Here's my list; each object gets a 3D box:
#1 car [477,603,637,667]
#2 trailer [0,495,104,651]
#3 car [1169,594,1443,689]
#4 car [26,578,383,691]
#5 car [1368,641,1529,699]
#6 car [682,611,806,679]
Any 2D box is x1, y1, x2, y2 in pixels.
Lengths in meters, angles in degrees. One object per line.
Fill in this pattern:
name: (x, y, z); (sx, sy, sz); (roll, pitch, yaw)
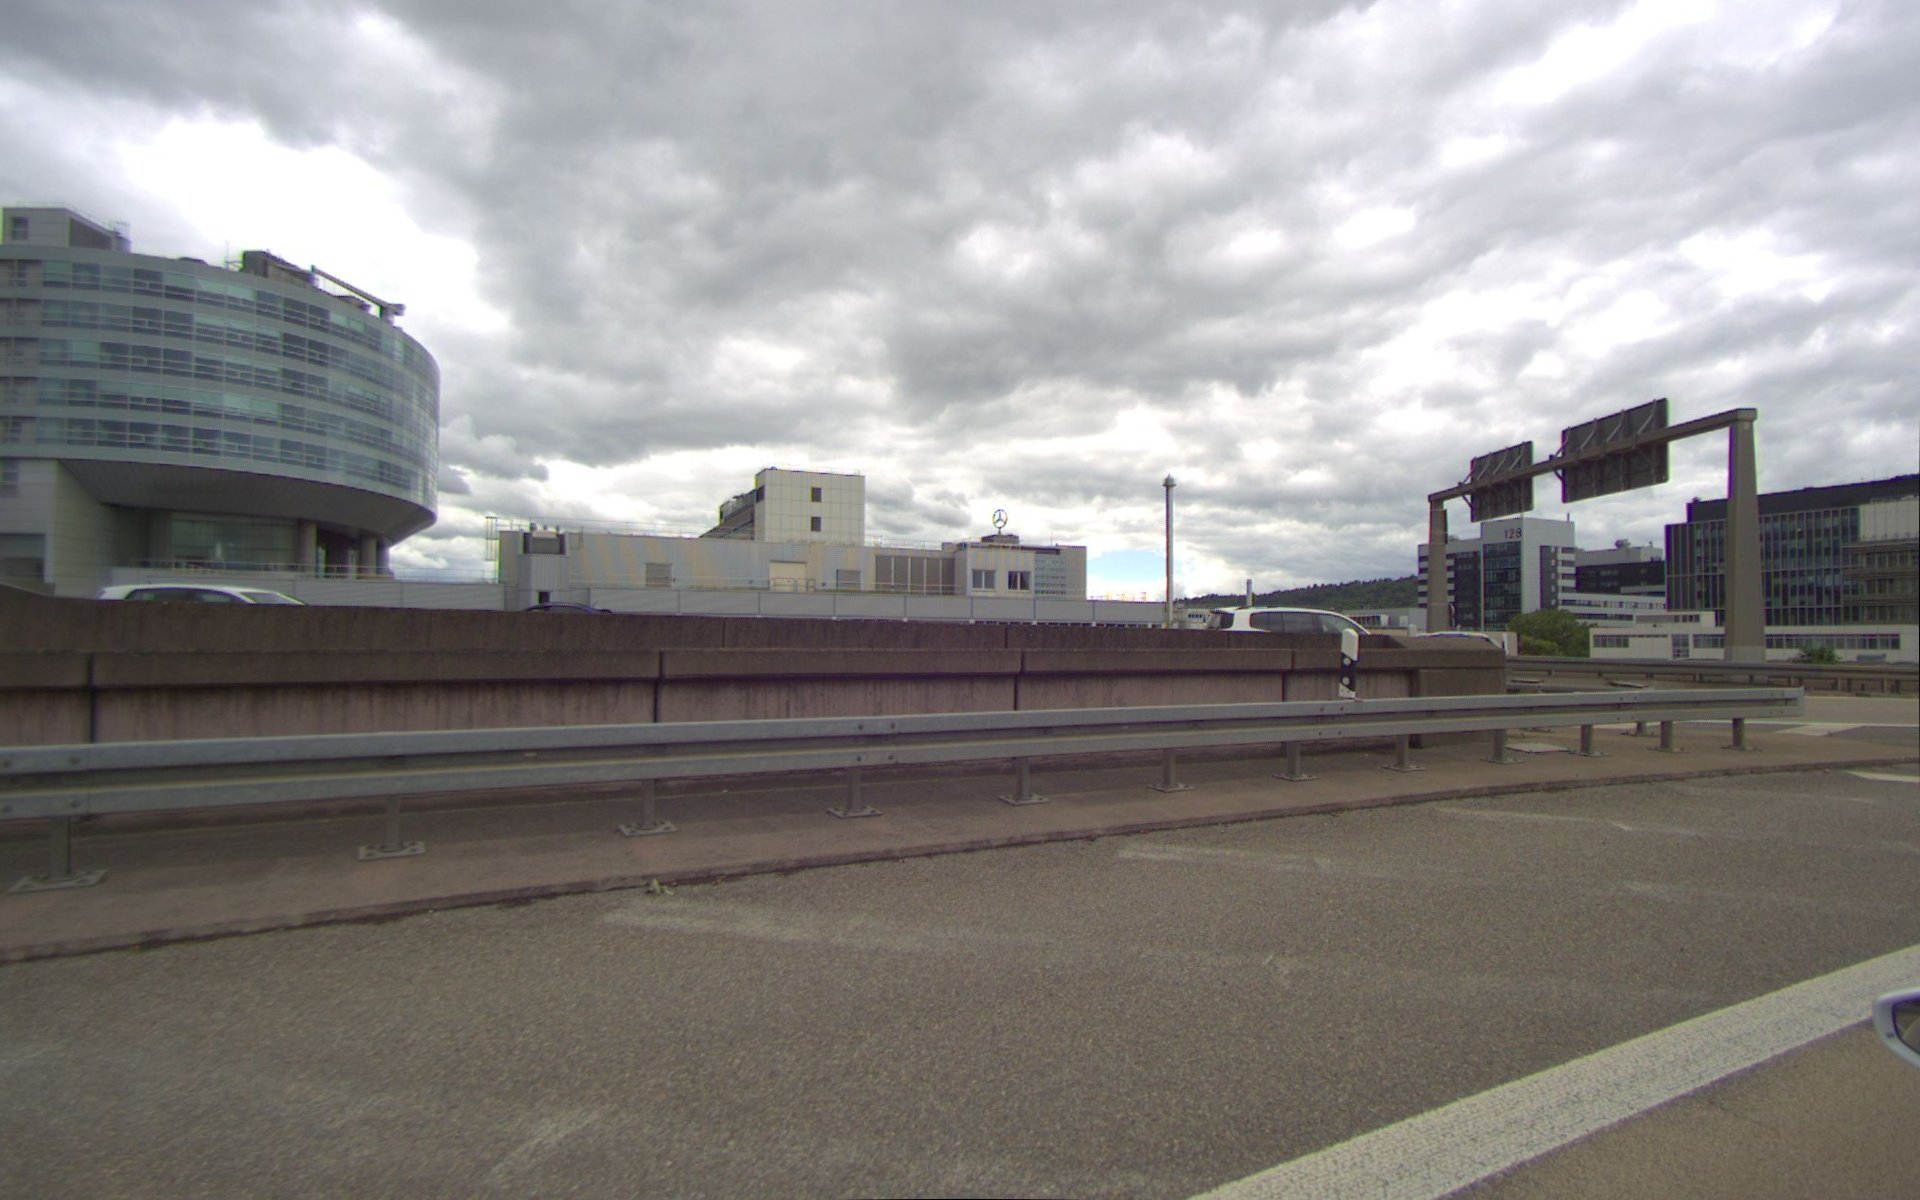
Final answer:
car: (-10.767, 0.946, 27.012); (3.615, 1.612, 1.650); (1, -2, -4)
trailer: (-32.908, -0.781, 29.407); (12.278, 4.403, 3.171); (1, -2, -4)
car: (6.855, 0.797, 20.235); (4.797, 1.691, 1.999); (2, 0, -2)
car: (-11.088, 0.488, 14.978); (3.924, 1.517, 1.713); (1, 0, -5)
car: (13.678, 1.953, 28.238); (3.765, 1.538, 1.650); (1, -2, -4)
car: (-7.689, 1.589, 35.985); (3.921, 2.041, 1.999); (2, 5, 1)
